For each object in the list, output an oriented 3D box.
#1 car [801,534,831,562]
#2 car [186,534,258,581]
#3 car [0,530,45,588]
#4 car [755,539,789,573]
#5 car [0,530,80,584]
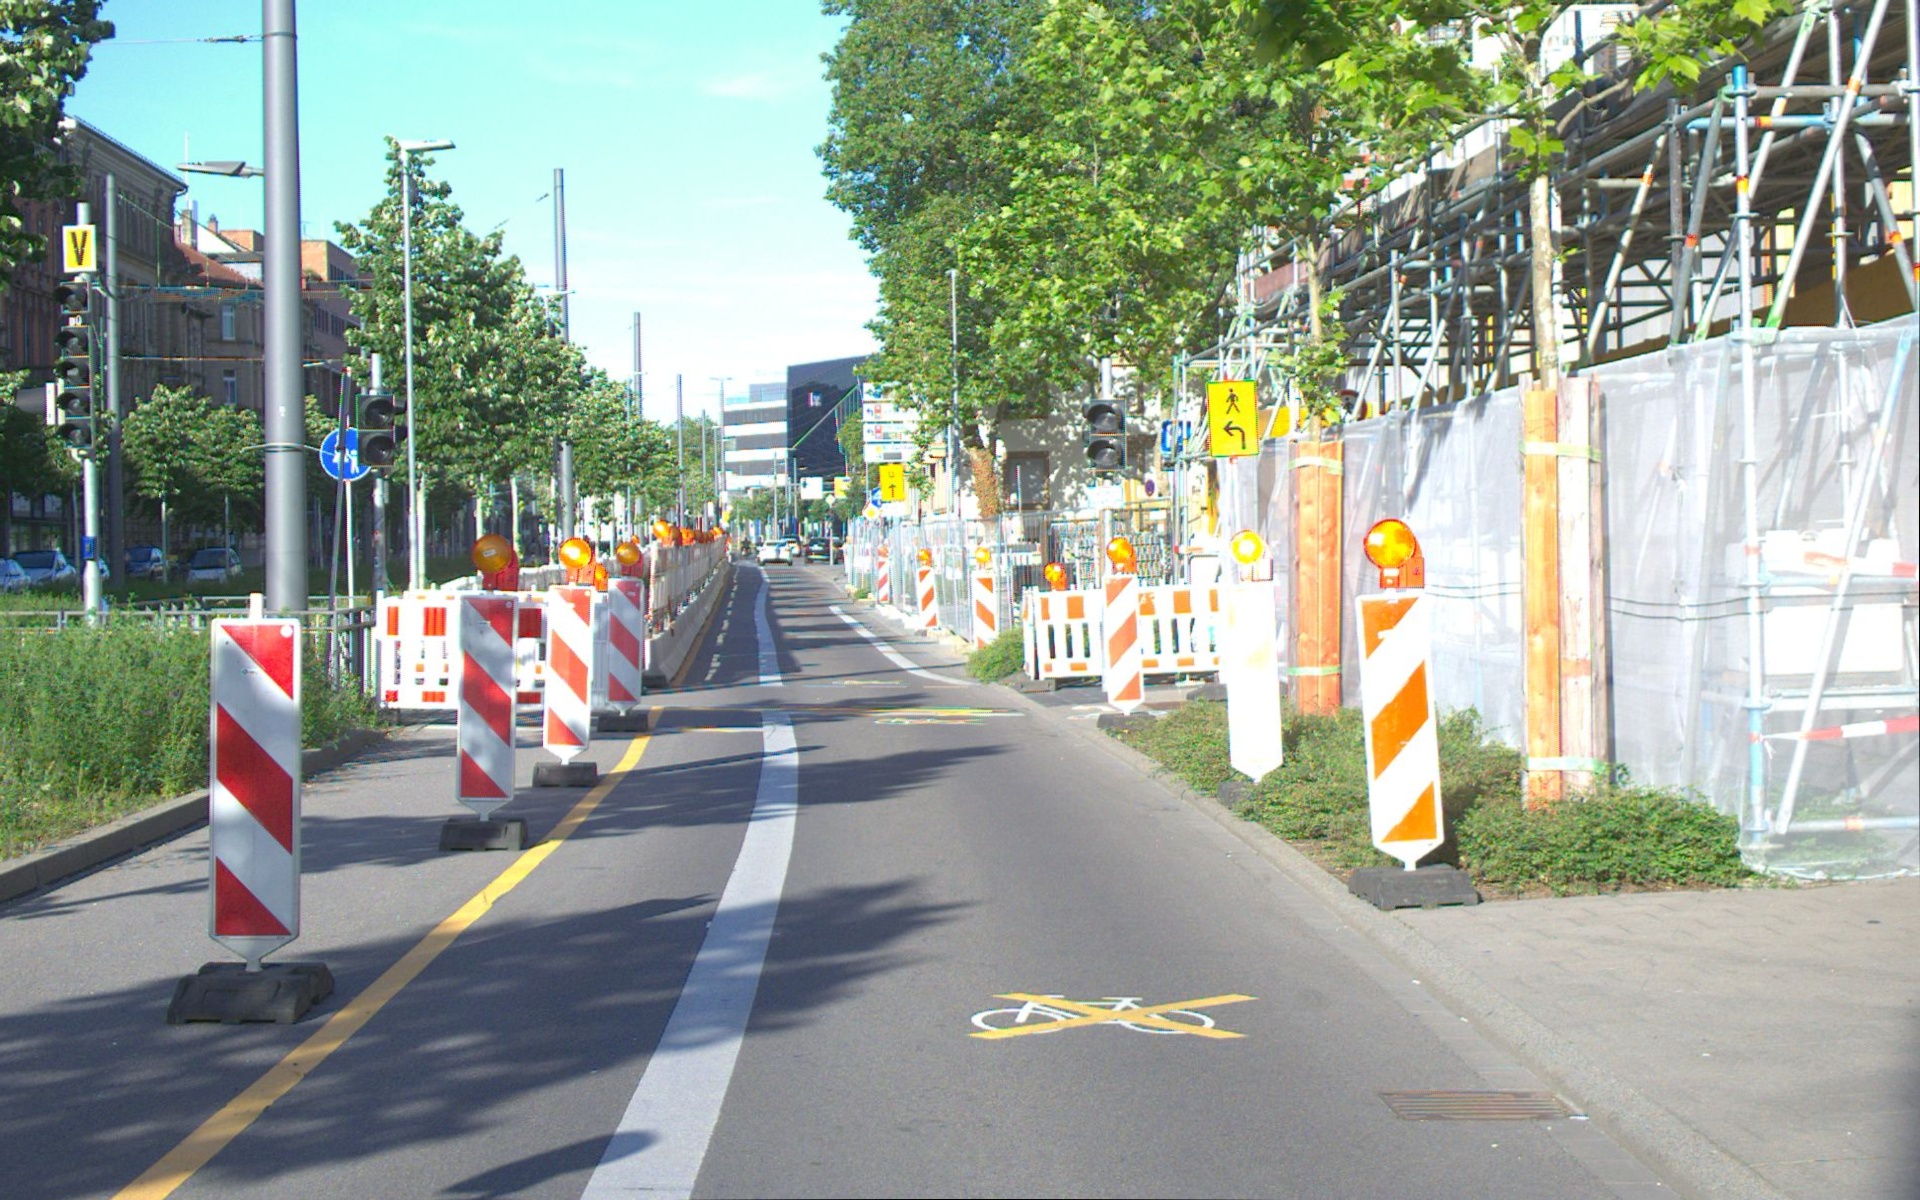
[{"bbox_3d":[-9.585,-3.465,228.625,1.883,1.836,3.668,-1,1,-3],"label":"car"},{"bbox_3d":[-23.694,-1.379,110.466,1.595,1.478,3.624,-1,1,-2],"label":"car"},{"bbox_3d":[-27.255,-1.173,97.463,1.566,1.557,4.715,-1,1,-3],"label":"car"},{"bbox_3d":[-10.595,-2.489,193.999,1.883,1.836,3.668,-1,1,-3],"label":"car"},{"bbox_3d":[-27.945,-1.326,104.292,1.566,1.557,4.715,-1,1,-4],"label":"car"}]
